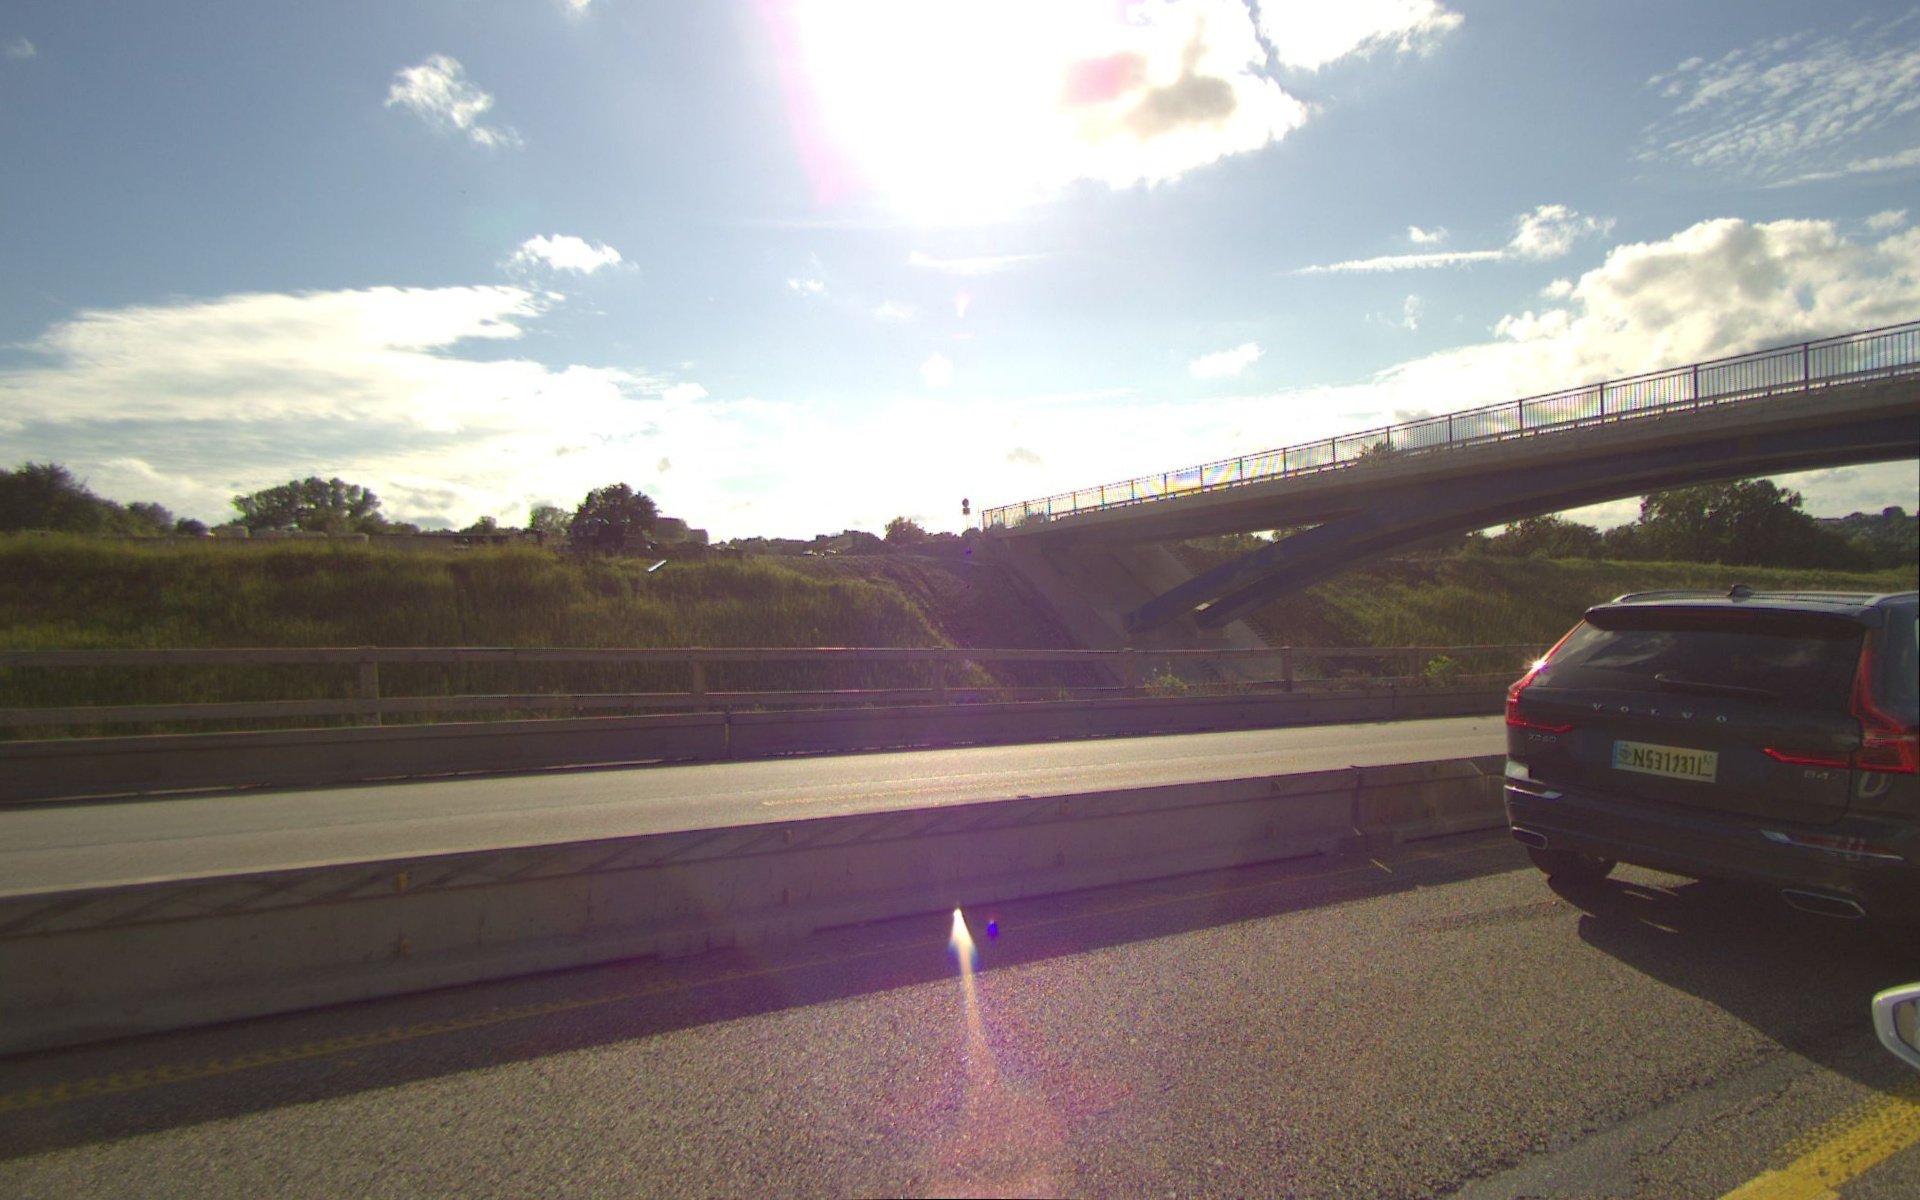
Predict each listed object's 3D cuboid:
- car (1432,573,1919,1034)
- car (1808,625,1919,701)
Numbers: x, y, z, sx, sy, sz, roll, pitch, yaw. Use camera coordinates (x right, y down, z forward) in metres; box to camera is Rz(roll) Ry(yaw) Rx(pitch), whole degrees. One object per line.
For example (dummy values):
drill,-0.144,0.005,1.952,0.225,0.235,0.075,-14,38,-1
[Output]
car,4.993,0.763,5.602,4.694,1.646,1.984,1,-1,-30
car,20.630,1.335,21.990,4.168,1.511,1.815,1,-3,-30
